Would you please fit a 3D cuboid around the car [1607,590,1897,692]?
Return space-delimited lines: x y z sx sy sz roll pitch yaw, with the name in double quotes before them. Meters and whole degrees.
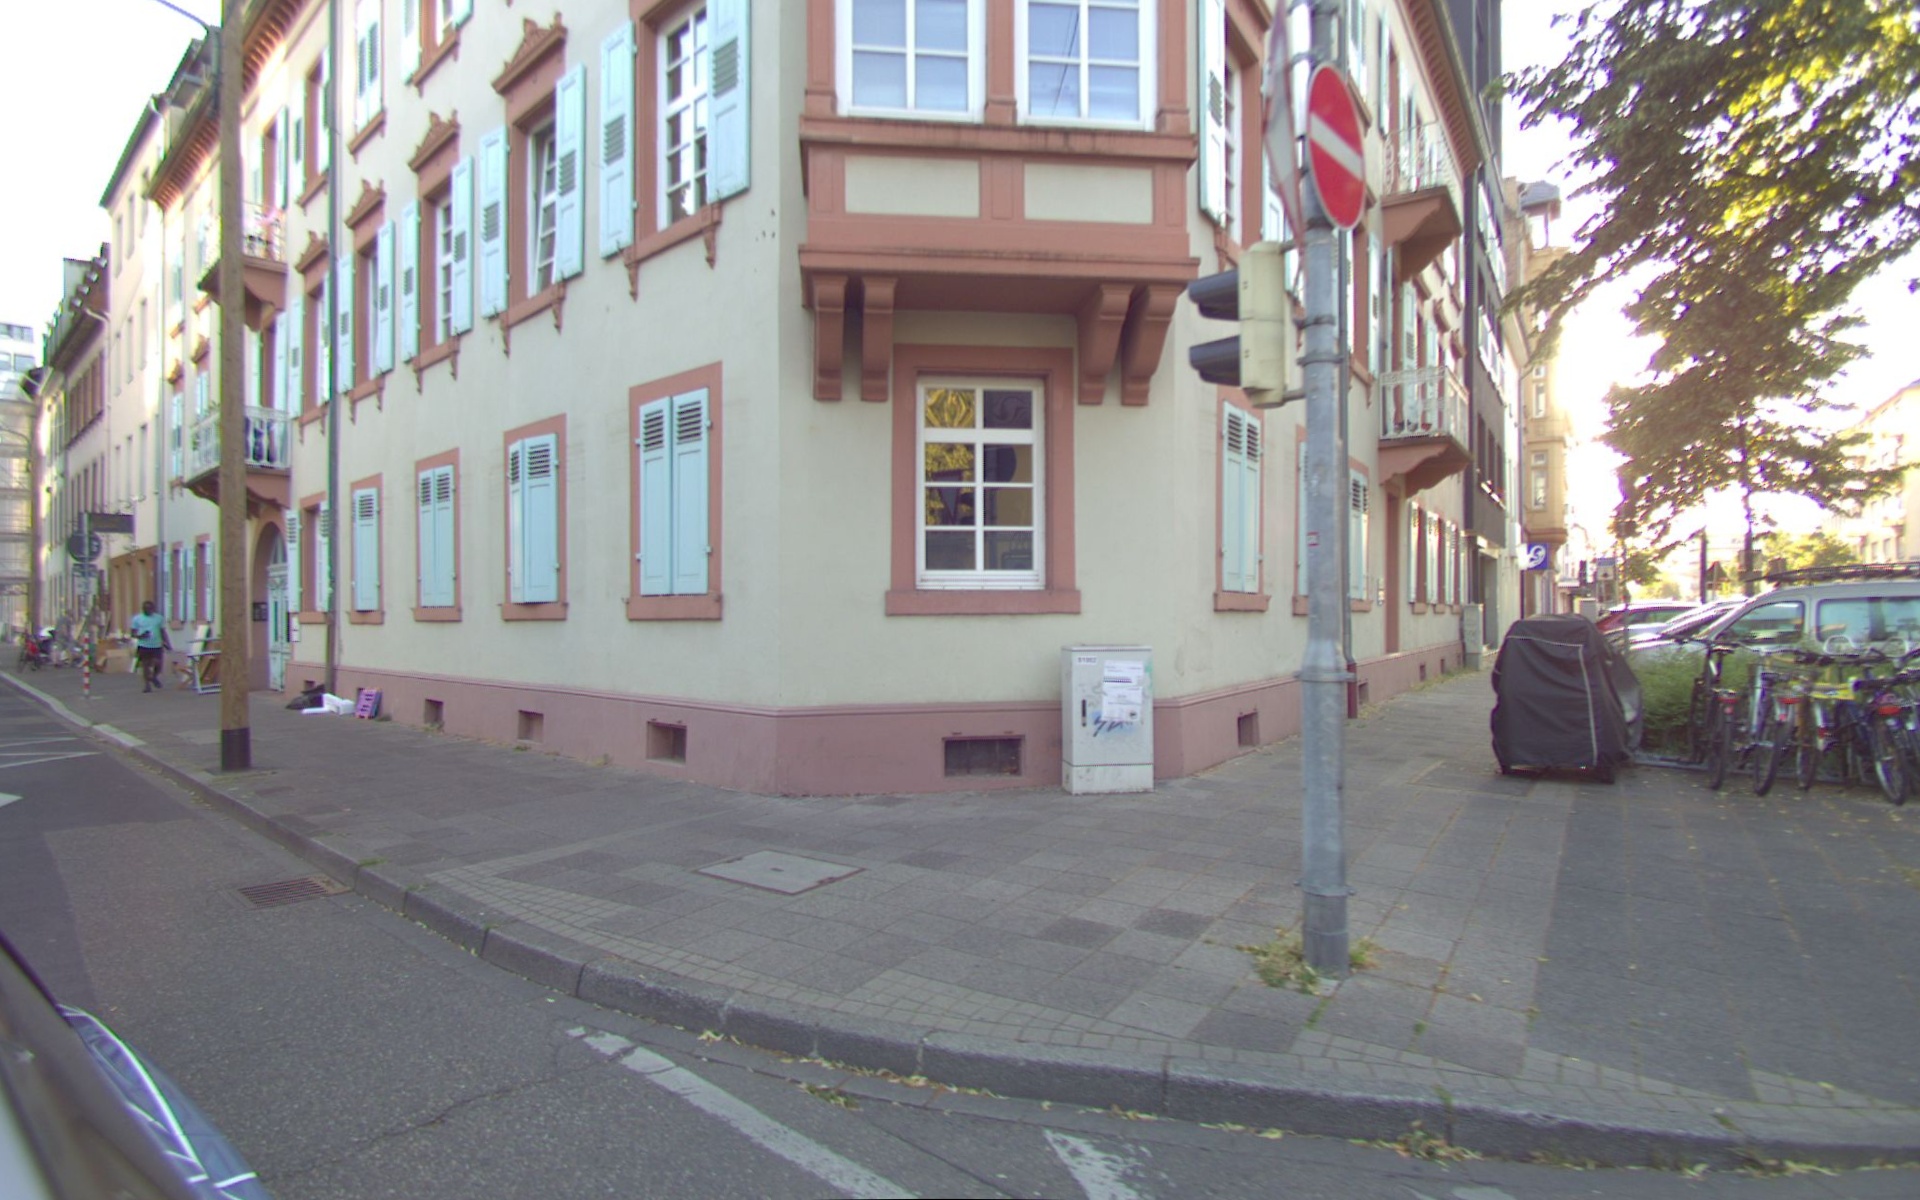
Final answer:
"car" 13.659 0.661 17.719 3.831 1.597 1.720 0 -1 37

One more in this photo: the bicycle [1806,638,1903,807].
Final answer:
"bicycle" 6.545 0.834 7.442 0.341 1.090 1.577 -2 -2 35

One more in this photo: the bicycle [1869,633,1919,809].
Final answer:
"bicycle" 6.847 0.815 7.240 0.312 1.157 1.592 -1 -2 35

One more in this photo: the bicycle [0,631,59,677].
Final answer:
"bicycle" -25.360 1.455 27.588 0.649 1.179 1.613 -1 -1 -21

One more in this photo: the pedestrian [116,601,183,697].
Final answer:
"pedestrian" -15.130 0.906 18.896 0.649 1.709 0.815 -2 1 42

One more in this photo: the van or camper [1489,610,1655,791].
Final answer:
"van or camper" 4.968 0.726 8.156 0.943 1.269 1.821 0 -1 38

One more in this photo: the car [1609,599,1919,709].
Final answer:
"car" 12.403 0.792 15.791 3.658 1.526 1.627 -1 -1 39

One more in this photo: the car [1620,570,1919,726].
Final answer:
"car" 11.129 0.610 13.456 3.817 1.863 1.679 -1 -2 37

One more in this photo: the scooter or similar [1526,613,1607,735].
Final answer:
"scooter or similar" 6.602 0.761 10.997 0.676 1.231 1.379 -2 -1 33

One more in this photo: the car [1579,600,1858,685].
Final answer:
"car" 14.772 0.818 20.045 4.205 1.528 1.744 -1 -2 31

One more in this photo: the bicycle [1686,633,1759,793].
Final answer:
"bicycle" 5.925 0.824 7.897 0.396 1.090 1.577 1 0 35

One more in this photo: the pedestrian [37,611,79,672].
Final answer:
"pedestrian" -25.819 1.168 28.962 0.649 1.709 0.815 -2 -1 42

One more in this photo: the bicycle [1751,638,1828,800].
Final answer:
"bicycle" 6.261 0.839 7.674 0.322 1.090 1.577 -1 -2 35
